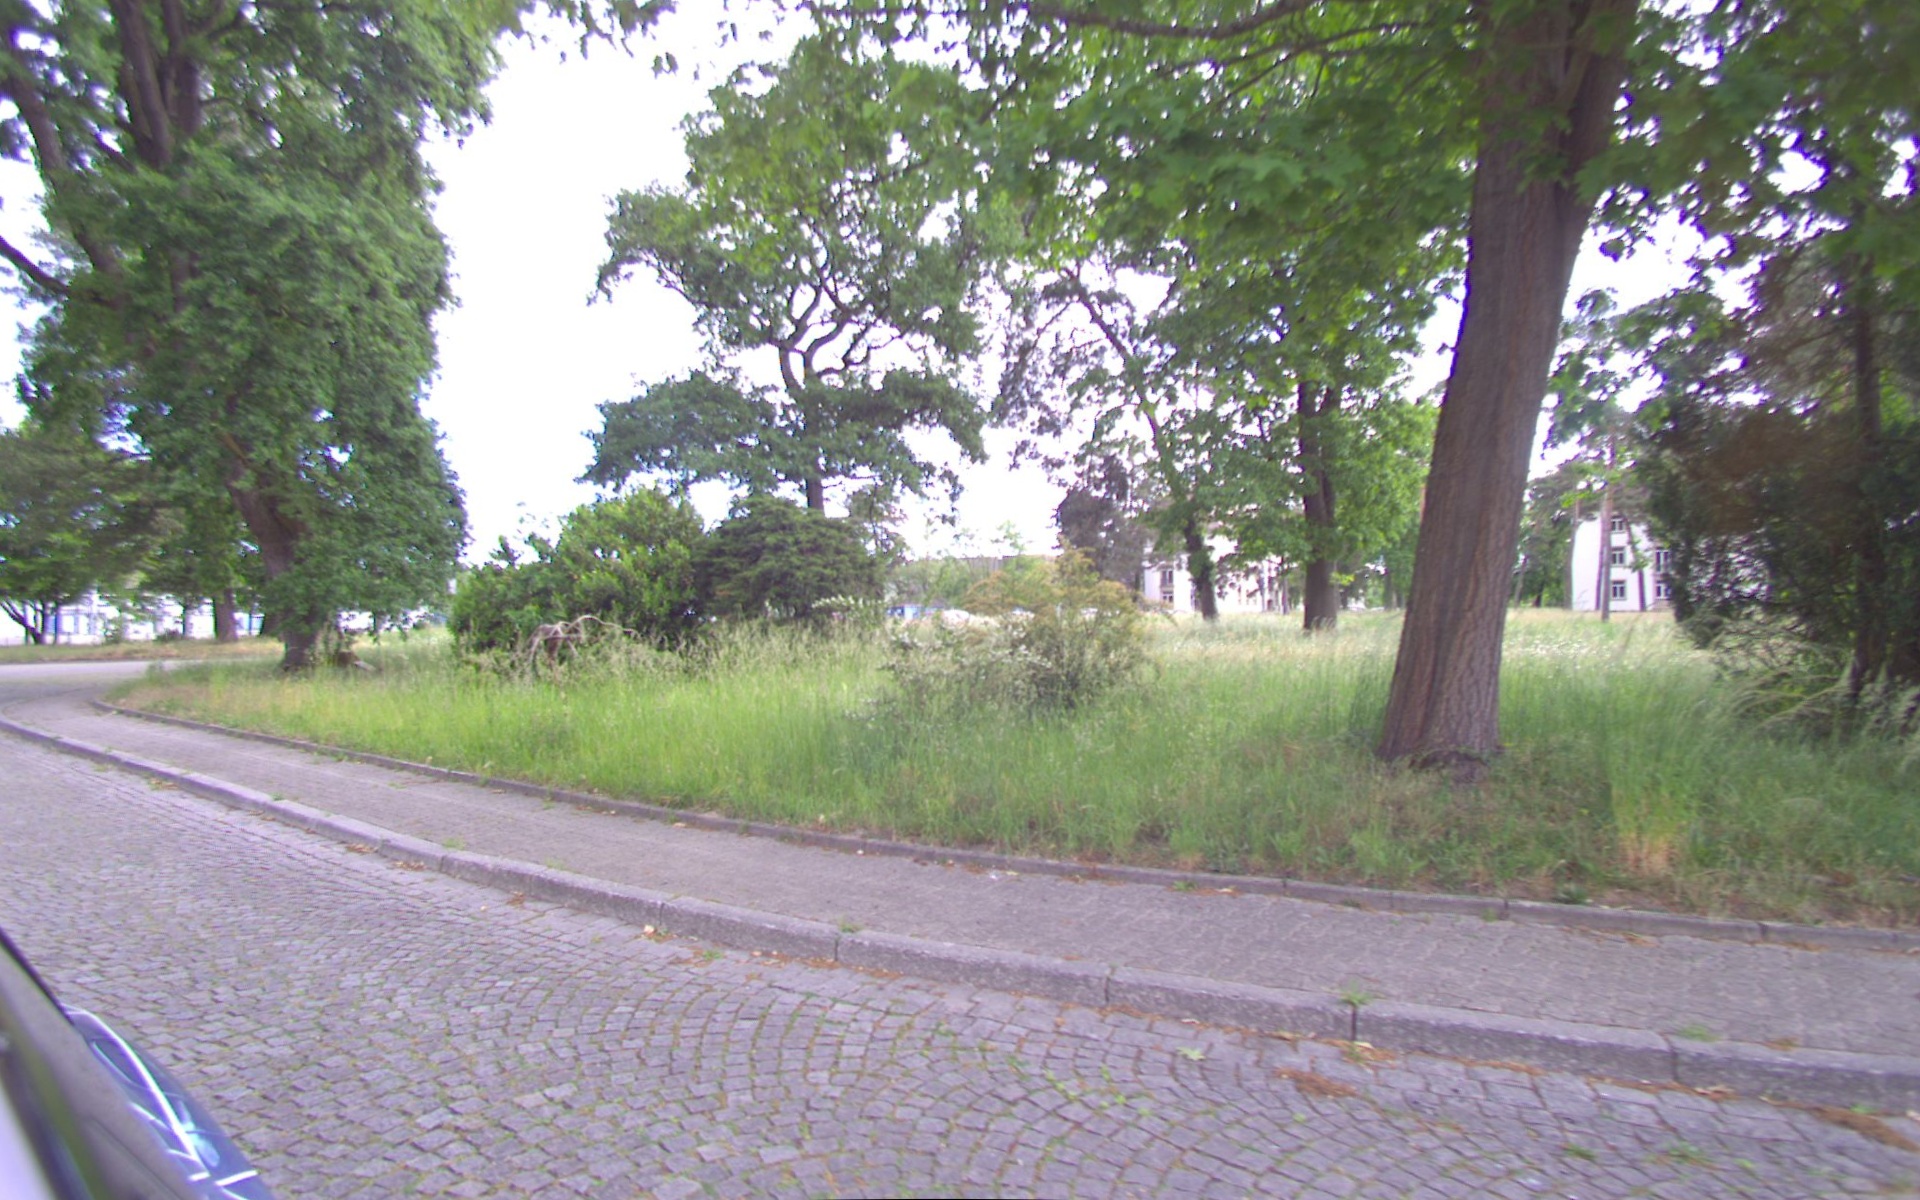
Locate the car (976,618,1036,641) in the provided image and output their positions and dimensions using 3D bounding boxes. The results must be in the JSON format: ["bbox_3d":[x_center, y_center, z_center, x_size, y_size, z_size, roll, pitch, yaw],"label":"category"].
[{"bbox_3d":[3.027,1.935,66.630,3.688,1.349,1.564,-4,-3,36],"label":"car"}]

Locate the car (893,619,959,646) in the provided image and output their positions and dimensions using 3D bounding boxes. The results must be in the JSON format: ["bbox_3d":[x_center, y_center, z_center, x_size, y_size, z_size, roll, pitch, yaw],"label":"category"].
[{"bbox_3d":[-2.004,1.930,59.237,3.656,1.432,1.558,-4,-3,36],"label":"car"}]
